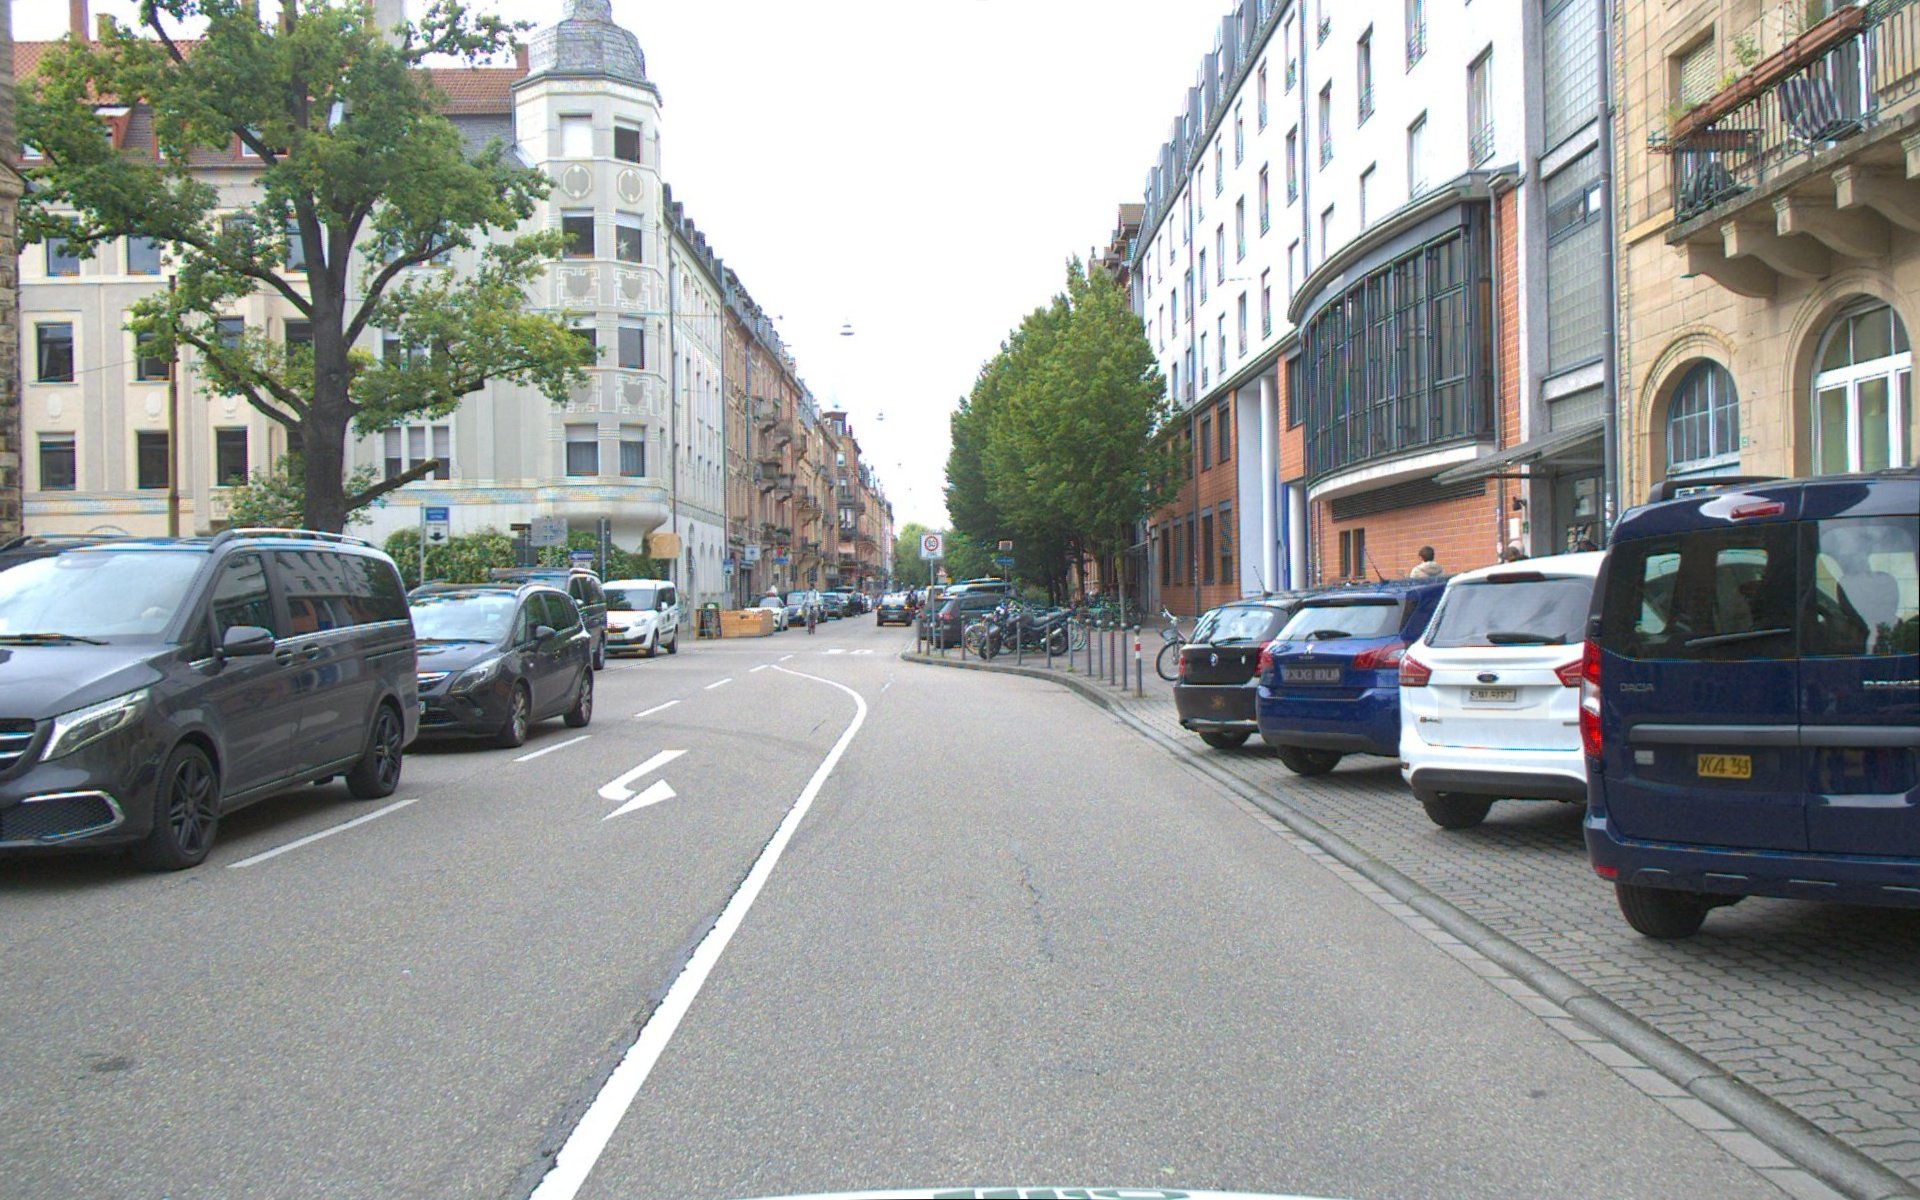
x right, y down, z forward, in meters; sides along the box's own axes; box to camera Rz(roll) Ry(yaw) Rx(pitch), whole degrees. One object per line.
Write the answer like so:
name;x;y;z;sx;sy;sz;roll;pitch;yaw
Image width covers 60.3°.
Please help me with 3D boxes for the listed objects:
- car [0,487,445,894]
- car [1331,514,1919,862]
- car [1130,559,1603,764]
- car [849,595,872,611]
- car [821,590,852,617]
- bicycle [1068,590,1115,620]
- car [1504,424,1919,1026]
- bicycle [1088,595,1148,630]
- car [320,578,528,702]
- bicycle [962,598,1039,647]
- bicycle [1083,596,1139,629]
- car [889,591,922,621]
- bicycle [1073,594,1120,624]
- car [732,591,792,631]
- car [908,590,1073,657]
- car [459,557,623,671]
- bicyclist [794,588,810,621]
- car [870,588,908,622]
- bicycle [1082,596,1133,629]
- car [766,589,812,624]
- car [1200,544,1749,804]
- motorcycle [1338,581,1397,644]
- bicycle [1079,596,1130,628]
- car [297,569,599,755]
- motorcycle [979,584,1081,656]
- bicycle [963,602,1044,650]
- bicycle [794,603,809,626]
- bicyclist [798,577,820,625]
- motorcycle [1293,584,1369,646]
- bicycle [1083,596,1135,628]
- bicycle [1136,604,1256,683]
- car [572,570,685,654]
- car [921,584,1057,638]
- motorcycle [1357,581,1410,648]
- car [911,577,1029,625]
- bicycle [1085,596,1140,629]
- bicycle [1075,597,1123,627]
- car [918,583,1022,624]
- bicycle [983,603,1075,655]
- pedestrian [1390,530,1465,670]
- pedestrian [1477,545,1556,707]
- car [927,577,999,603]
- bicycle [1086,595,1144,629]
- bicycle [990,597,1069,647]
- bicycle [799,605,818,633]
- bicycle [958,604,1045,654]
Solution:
car;-5.096;0.426;10.715;1.873;1.989;5.283;0;0;0
car;4.235;0.387;10.238;3.965;1.629;1.739;-5;2;-41
car;3.854;0.493;15.600;4.194;1.504;1.671;-4;2;-25
car;-8.909;0.285;147.927;1.954;1.344;3.996;0;-1;-4
car;-8.609;0.251;115.391;1.904;1.772;3.942;0;0;-1
bicycle;4.953;0.184;62.453;1.717;1.111;0.565;0;-1;-1
car;4.309;0.293;7.112;4.248;1.939;1.851;-4;2;-42
bicycle;5.138;0.406;53.974;1.894;1.111;0.577;0;-1;-1
car;-8.042;0.537;25.270;1.806;1.718;4.431;0;1;-1
bicycle;1.003;0.552;41.240;1.846;1.161;0.611;-2;-1;-4
bicycle;5.059;0.418;55.387;1.799;1.111;0.542;0;-1;-1
car;-3.241;0.373;98.630;1.953;1.710;3.998;0;-1;-2
bicycle;5.100;0.327;61.802;1.717;1.111;0.565;0;-1;-1
car;-8.371;0.471;70.171;1.904;1.580;3.818;-2;0;2
car;0.860;0.633;45.494;4.237;1.606;1.841;-3;0;-34
car;-8.067;0.243;32.339;1.972;2.049;5.182;0;0;-1
bicyclist;-6.848;0.185;71.631;0.655;1.423;0.783;0;-1;-4
car;-3.658;0.265;85.874;1.953;1.710;3.998;0;-1;-2
bicycle;5.146;0.438;57.597;1.717;1.111;0.565;0;-1;-1
car;-8.442;0.317;81.831;1.904;1.645;3.942;0;0;-1
car;4.058;0.468;12.945;3.946;1.560;1.913;-4;2;-30
motorcycle;7.895;0.235;32.152;0.589;1.164;2.070;-1;0;-1
bicycle;5.083;0.429;58.202;1.717;1.111;0.565;0;-1;-1
car;-5.229;0.556;17.577;1.807;1.713;4.548;0;0;0
motorcycle;1.502;0.432;35.545;2.092;1.454;0.770;-2;-1;-4
bicycle;1.025;0.614;39.139;1.846;1.061;0.611;-2;-1;-4
bicycle;-6.844;0.633;71.628;0.524;0.995;1.864;0;-1;-1
bicyclist;-6.085;0.039;66.706;0.766;1.899;0.714;0;0;1
motorcycle;7.691;0.298;34.400;1.007;1.223;2.208;-2;0;-1
bicycle;5.122;0.418;56.814;1.717;1.111;0.565;0;-1;-1
bicycle;3.553;0.656;24.999;0.724;1.123;1.710;-2;0;-42
car;-8.153;0.268;41.082;1.805;1.973;4.548;0;0;1
car;0.944;0.348;53.137;4.008;1.612;1.882;-1;-1;-32
motorcycle;7.681;0.246;29.980;0.589;1.164;1.881;-2;0;24
car;0.503;0.051;79.156;5.560;2.164;1.926;-1;0;-35
bicycle;5.164;0.429;56.184;1.799;1.111;0.565;0;-1;-1
bicycle;5.119;0.440;61.054;1.717;1.111;0.565;0;-1;-1
car;0.543;0.165;87.193;5.342;2.027;1.926;-1;0;-35
bicycle;1.531;0.638;36.723;1.969;1.081;0.611;-2;-1;-4
pedestrian;6.168;-0.001;21.858;0.617;1.784;0.811;-3;0;-4
pedestrian;5.981;0.280;17.796;0.508;1.691;0.716;-2;-1;-4
car;0.254;-0.762;126.939;5.331;1.900;1.930;-1;0;-31
bicycle;5.125;0.402;54.580;1.856;1.111;0.542;0;-1;-1
bicycle;1.687;0.539;40.201;1.846;1.161;0.611;-2;-1;-4
bicycle;-6.093;0.756;66.464;0.556;1.106;1.987;0;0;1
bicycle;0.931;0.663;37.497;1.891;1.061;0.611;-2;-1;-4
